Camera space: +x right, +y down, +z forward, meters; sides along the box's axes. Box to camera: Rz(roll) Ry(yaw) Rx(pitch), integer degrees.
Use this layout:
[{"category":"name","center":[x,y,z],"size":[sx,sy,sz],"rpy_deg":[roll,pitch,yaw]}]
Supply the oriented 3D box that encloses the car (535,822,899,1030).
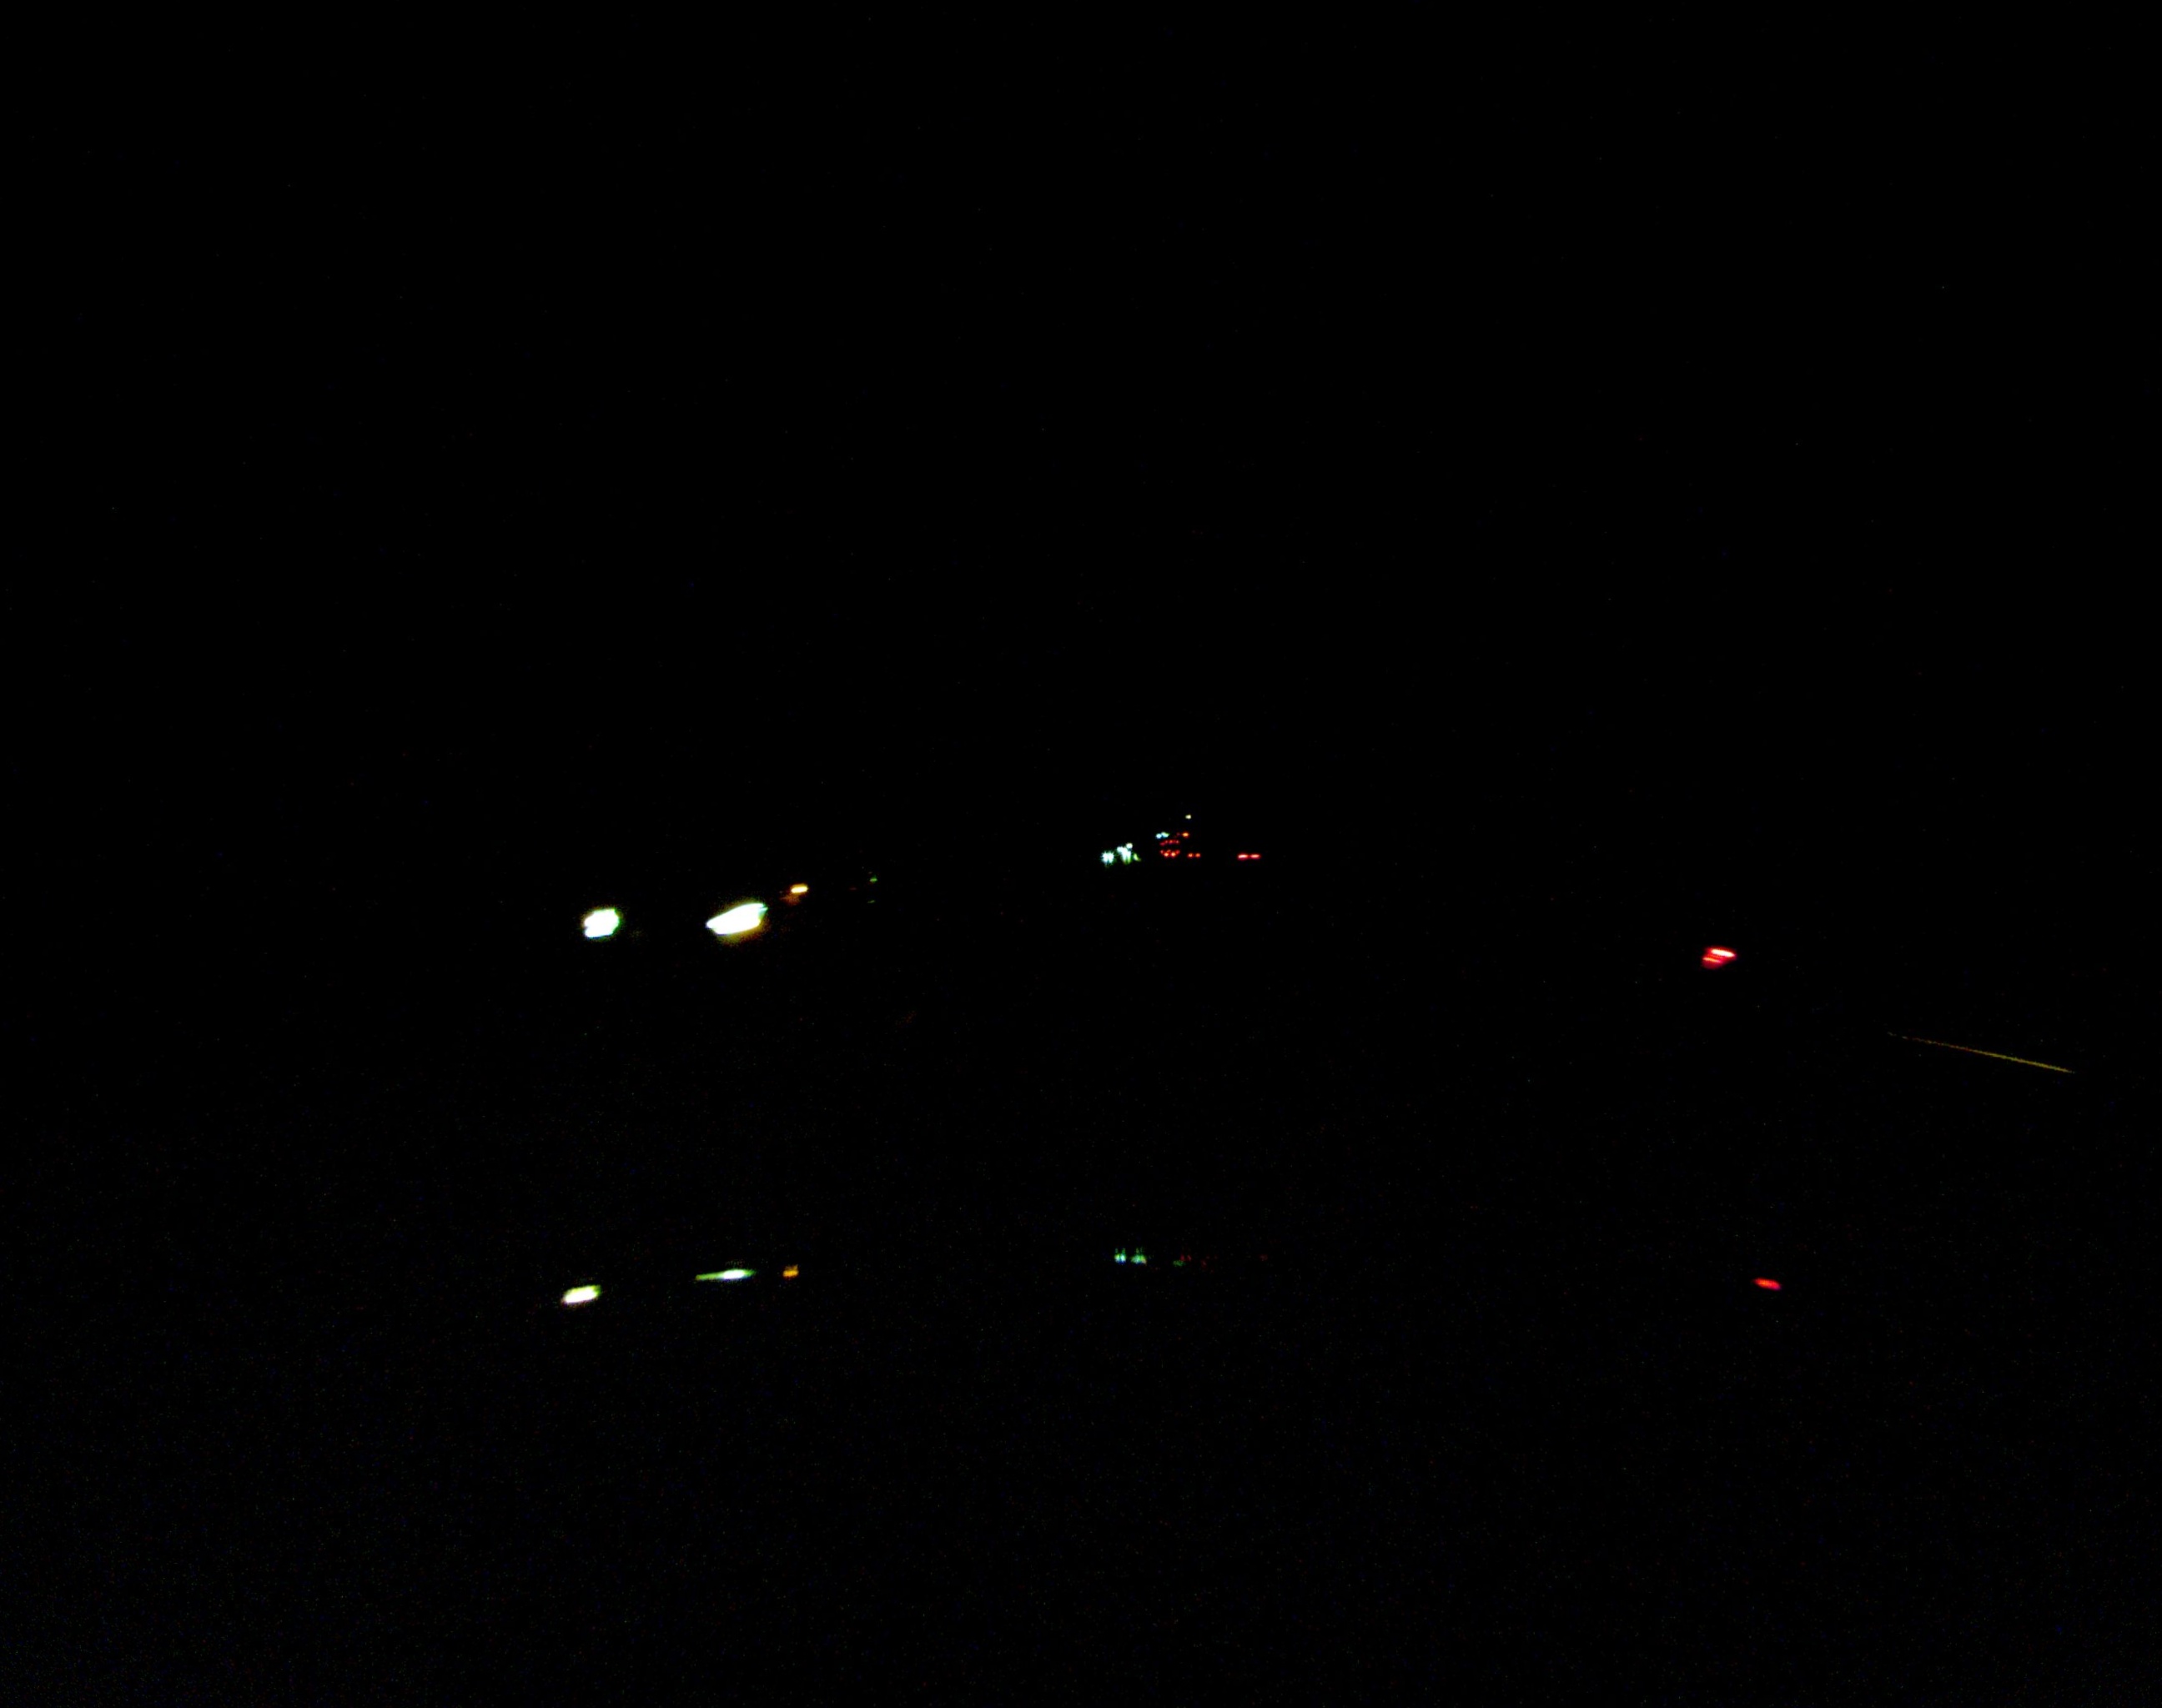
[{"category":"car","center":[-4.250,0.678,10.302],"size":[2.121,1.989,5.663],"rpy_deg":[-2,1,0]}]

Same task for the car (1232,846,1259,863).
[{"category":"car","center":[17.748,0.020,82.130],"size":[2.015,1.660,4.949],"rpy_deg":[-2,0,3]}]

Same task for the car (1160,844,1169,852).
[{"category":"car","center":[25.319,-1.768,229.664],"size":[2.106,2.503,6.216],"rpy_deg":[-2,0,2]}]

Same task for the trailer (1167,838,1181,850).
[{"category":"trailer","center":[31.825,-3.510,260.052],"size":[3.438,3.957,13.812],"rpy_deg":[-2,1,2]}]

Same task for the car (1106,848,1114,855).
[{"category":"car","center":[8.002,-0.789,208.506],"size":[1.999,1.762,3.998],"rpy_deg":[-2,2,-1]}]

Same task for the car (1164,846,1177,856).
[{"category":"car","center":[16.611,-0.554,141.313],"size":[2.015,1.660,4.483],"rpy_deg":[-2,0,3]}]

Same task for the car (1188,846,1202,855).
[{"category":"car","center":[20.415,-0.651,135.833],"size":[2.015,1.459,4.209],"rpy_deg":[-2,0,3]}]

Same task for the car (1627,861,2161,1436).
[{"category":"car","center":[3.925,0.815,1.369],"size":[1.998,1.509,5.652],"rpy_deg":[-2,0,3]}]
